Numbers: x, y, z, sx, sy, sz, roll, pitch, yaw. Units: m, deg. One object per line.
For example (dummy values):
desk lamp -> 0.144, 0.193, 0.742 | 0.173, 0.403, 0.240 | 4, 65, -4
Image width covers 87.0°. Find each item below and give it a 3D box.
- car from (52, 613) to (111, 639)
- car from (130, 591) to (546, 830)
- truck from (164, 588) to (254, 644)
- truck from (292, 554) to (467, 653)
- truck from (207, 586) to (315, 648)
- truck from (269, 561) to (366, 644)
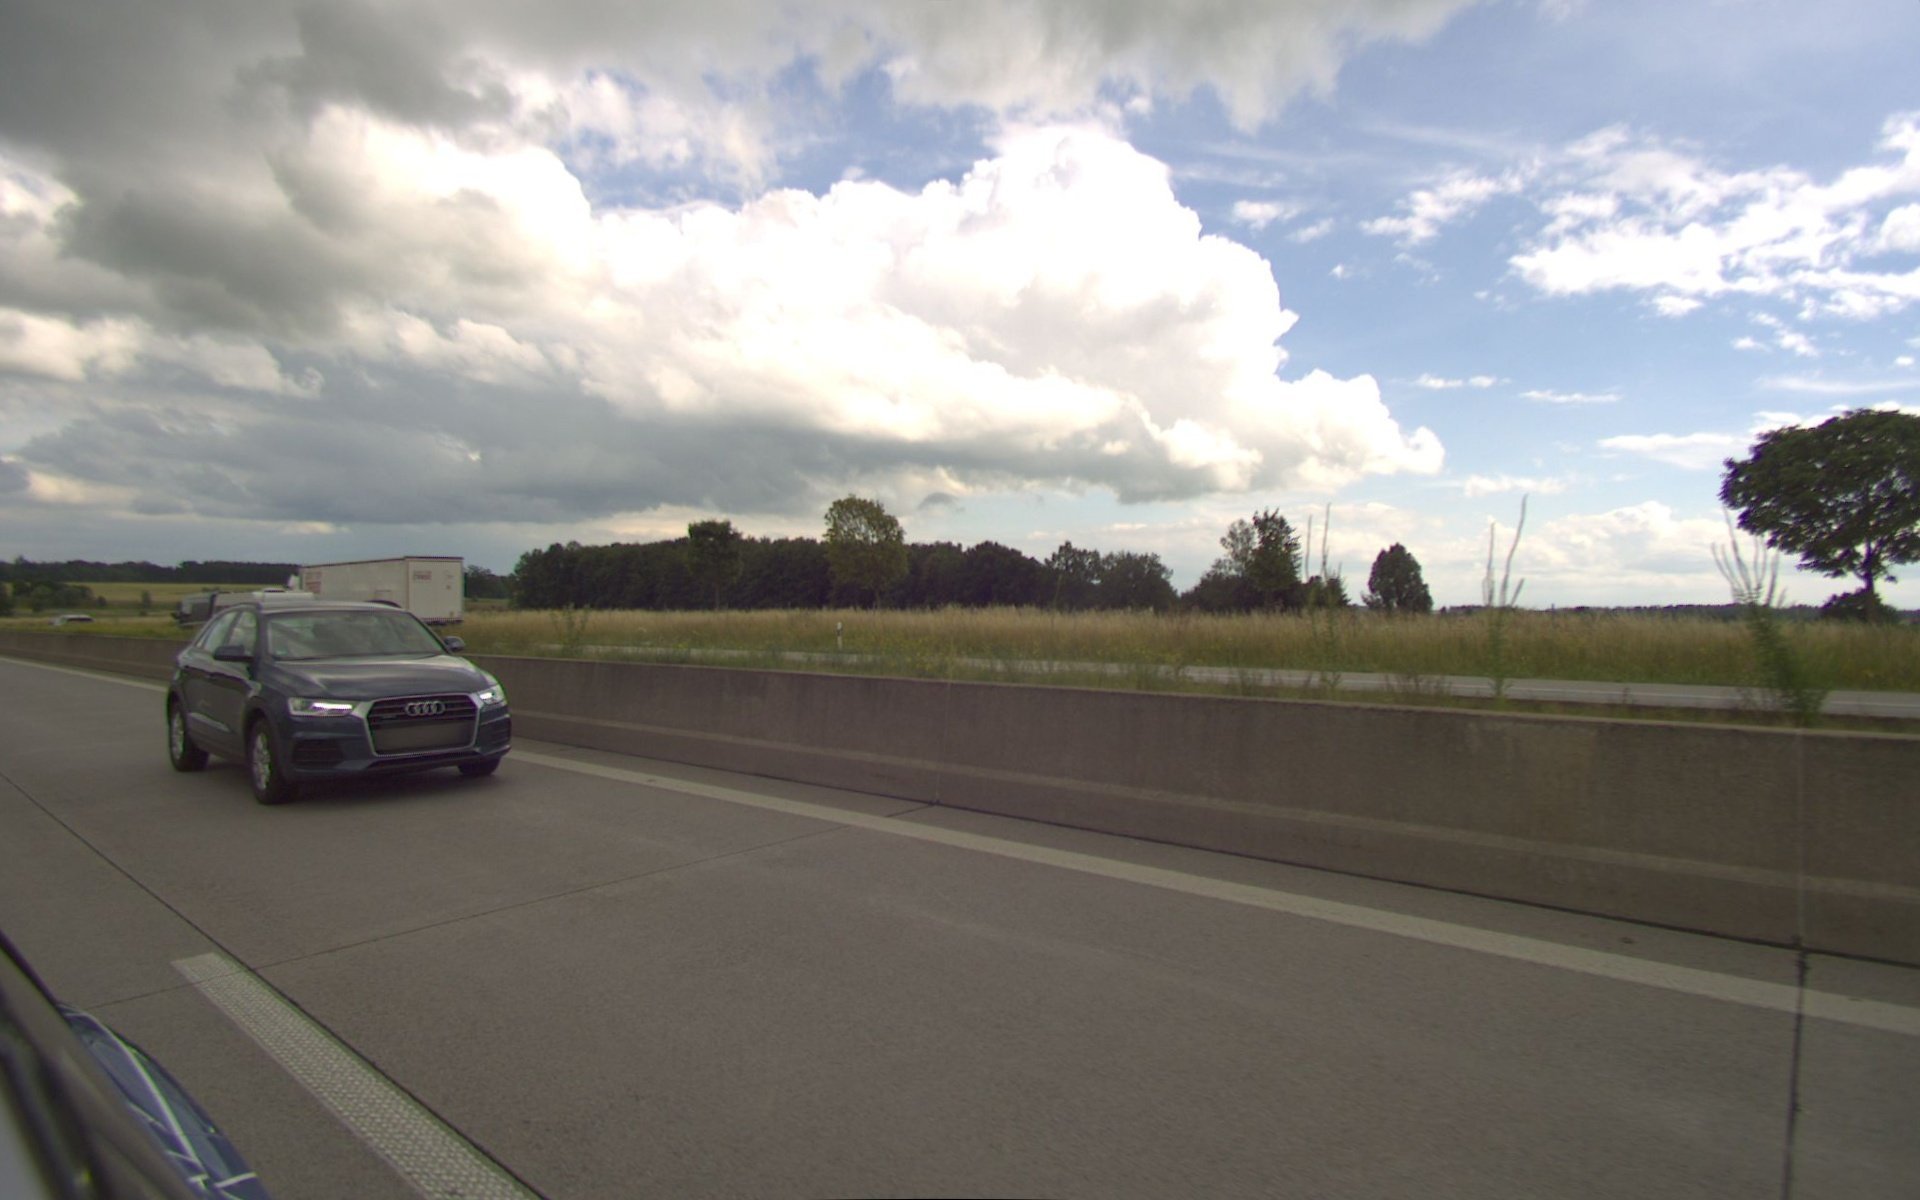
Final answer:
car -> -52.264, 1.549, 60.200 | 4.208, 1.493, 1.974 | -1, -1, 39
car -> -5.878, 0.773, 9.220 | 5.154, 1.608, 1.774 | -1, 0, 41
truck -> -39.593, 0.831, 53.269 | 7.120, 2.746, 2.228 | -1, 0, 40
truck -> -28.824, 0.117, 49.671 | 14.558, 4.287, 2.812 | 0, 0, 41
truck -> -33.129, 0.786, 47.872 | 6.916, 2.746, 2.589 | -1, 0, 41
truck -> -34.935, 0.109, 54.988 | 6.088, 4.287, 2.812 | 0, 0, 41
